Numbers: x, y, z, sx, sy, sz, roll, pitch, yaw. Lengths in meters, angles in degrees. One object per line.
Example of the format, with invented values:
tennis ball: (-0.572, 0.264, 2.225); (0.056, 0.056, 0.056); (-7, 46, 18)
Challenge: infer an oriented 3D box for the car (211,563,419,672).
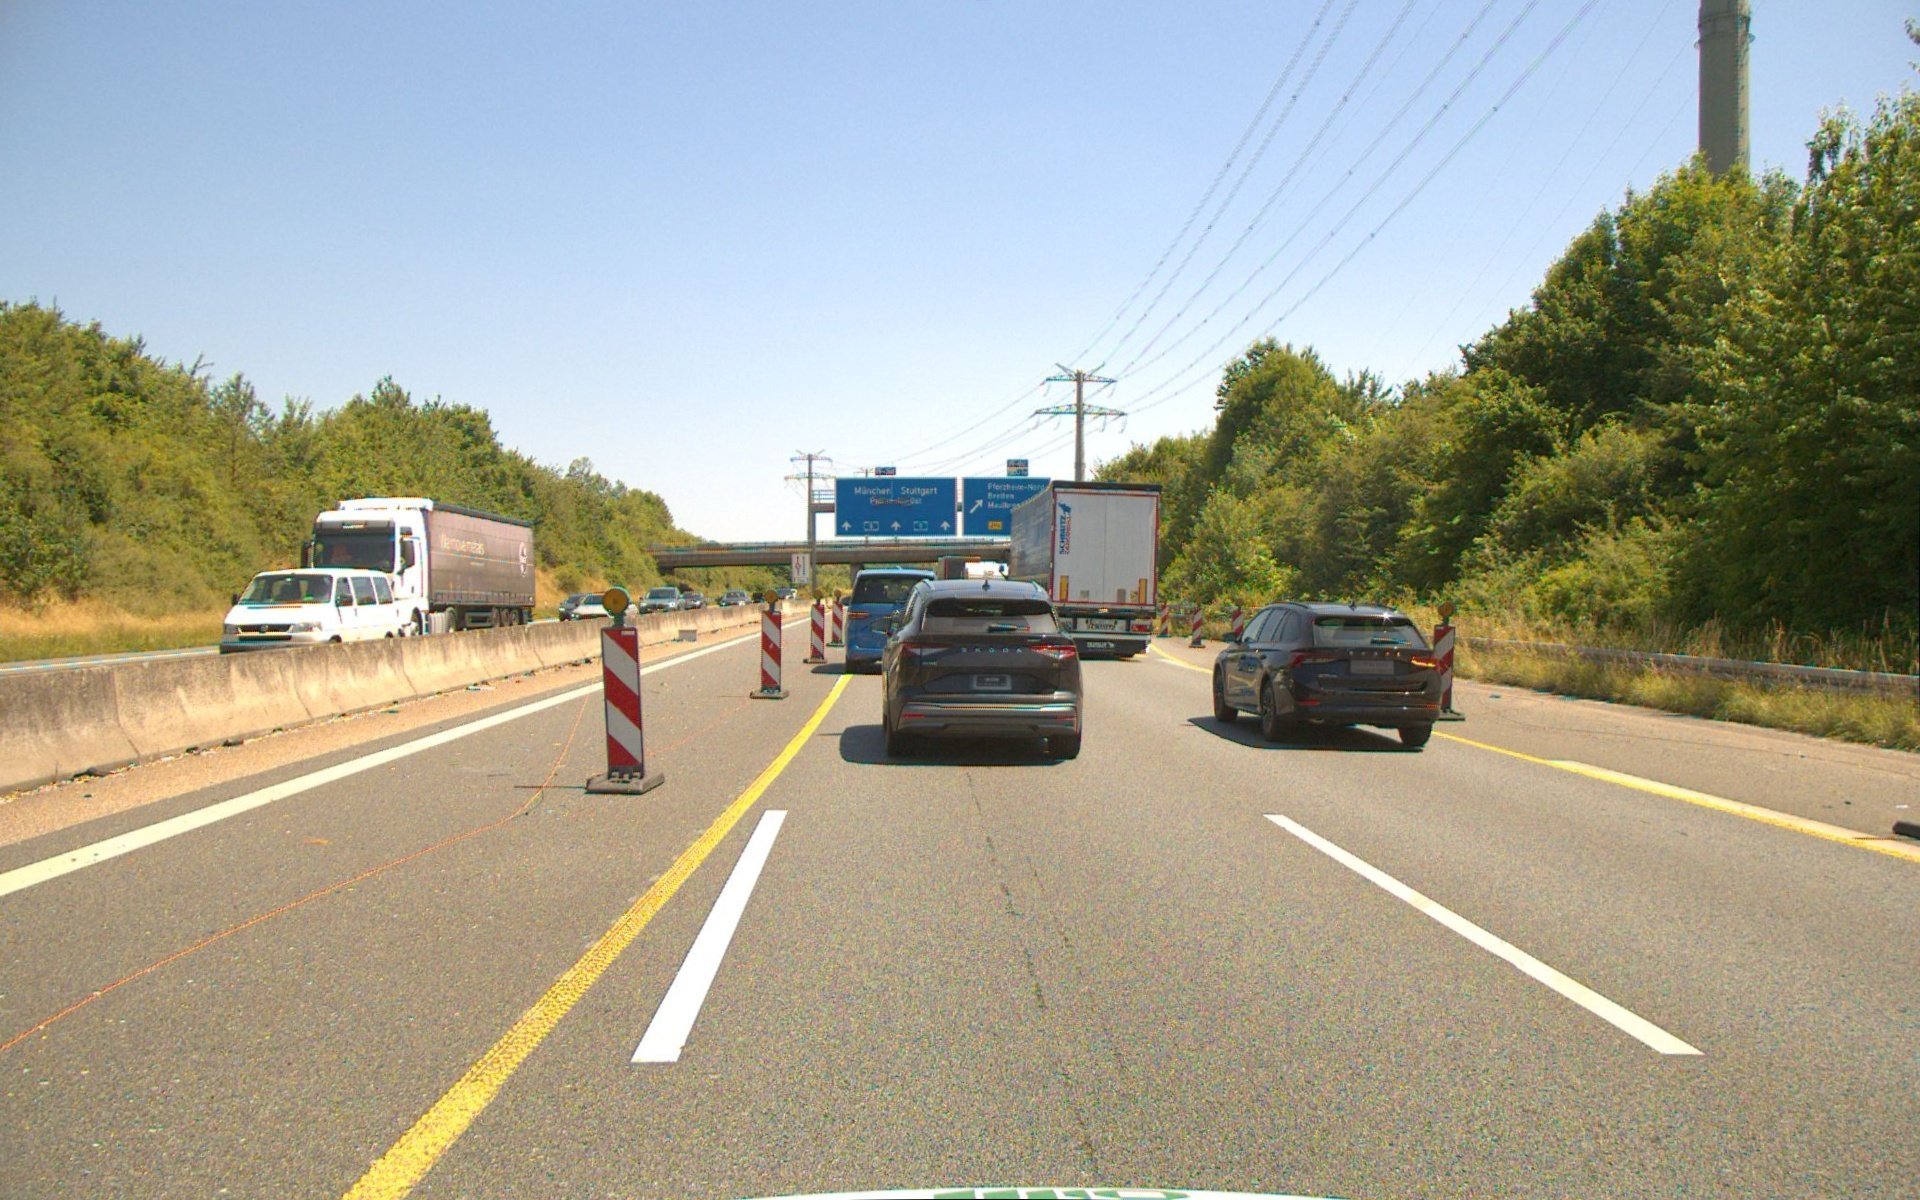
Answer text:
car: (-11.837, 0.280, 30.791); (1.829, 1.824, 5.453); (-1, 0, -1)

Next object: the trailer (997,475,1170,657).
trailer: (2.945, -0.814, 43.489); (3.004, 4.113, 11.480); (1, 0, -3)

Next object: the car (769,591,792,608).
car: (-16.338, -0.039, 150.603); (1.812, 1.486, 4.487); (-1, 0, -3)

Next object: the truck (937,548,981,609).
truck: (-0.181, -1.522, 123.587); (3.015, 4.219, 13.051); (2, 0, -1)

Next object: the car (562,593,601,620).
car: (-20.791, 0.318, 90.887); (1.473, 1.421, 4.086); (-1, 0, -4)

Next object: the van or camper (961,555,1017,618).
van or camper: (1.443, -0.719, 85.929); (2.534, 3.019, 6.083); (3, 0, -1)

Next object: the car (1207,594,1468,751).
car: (4.093, 0.713, 18.698); (1.743, 1.515, 4.462); (2, 0, -2)

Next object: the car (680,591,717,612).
car: (-18.697, 0.102, 118.522); (1.953, 1.486, 4.586); (-1, 0, -1)

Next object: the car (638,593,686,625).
car: (-14.107, 0.398, 78.425); (1.583, 1.467, 3.989); (-1, 0, -1)

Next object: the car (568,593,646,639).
car: (-12.262, 0.521, 57.714); (1.726, 1.497, 4.633); (-1, 0, -1)

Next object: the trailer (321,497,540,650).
trailer: (-16.530, -0.803, 53.068); (3.097, 4.253, 13.678); (-1, 0, -2)

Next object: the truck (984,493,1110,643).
truck: (2.505, -0.927, 50.360); (2.964, 4.158, 7.790); (1, 0, -3)

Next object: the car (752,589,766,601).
car: (-26.279, -0.612, 216.625); (1.469, 1.575, 3.999); (0, 0, -2)

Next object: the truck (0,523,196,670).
truck: (-21.835, -0.106, 41.398); (2.415, 3.345, 6.921); (-1, 0, -2)

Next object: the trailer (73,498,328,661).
trailer: (-22.141, -0.579, 49.228); (2.430, 4.253, 12.080); (-1, 0, -2)

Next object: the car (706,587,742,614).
car: (-15.526, 0.004, 108.830); (1.804, 1.744, 4.394); (-1, 0, -1)

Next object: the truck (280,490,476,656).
truck: (-16.302, -0.740, 46.975); (3.100, 4.298, 7.412); (-1, 0, -2)

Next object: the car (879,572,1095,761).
car: (0.127, 0.547, 16.507); (1.858, 1.620, 4.440); (0, 1, -3)

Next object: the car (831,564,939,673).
car: (-1.442, 0.352, 31.683); (1.858, 1.874, 4.439); (2, -1, -3)
